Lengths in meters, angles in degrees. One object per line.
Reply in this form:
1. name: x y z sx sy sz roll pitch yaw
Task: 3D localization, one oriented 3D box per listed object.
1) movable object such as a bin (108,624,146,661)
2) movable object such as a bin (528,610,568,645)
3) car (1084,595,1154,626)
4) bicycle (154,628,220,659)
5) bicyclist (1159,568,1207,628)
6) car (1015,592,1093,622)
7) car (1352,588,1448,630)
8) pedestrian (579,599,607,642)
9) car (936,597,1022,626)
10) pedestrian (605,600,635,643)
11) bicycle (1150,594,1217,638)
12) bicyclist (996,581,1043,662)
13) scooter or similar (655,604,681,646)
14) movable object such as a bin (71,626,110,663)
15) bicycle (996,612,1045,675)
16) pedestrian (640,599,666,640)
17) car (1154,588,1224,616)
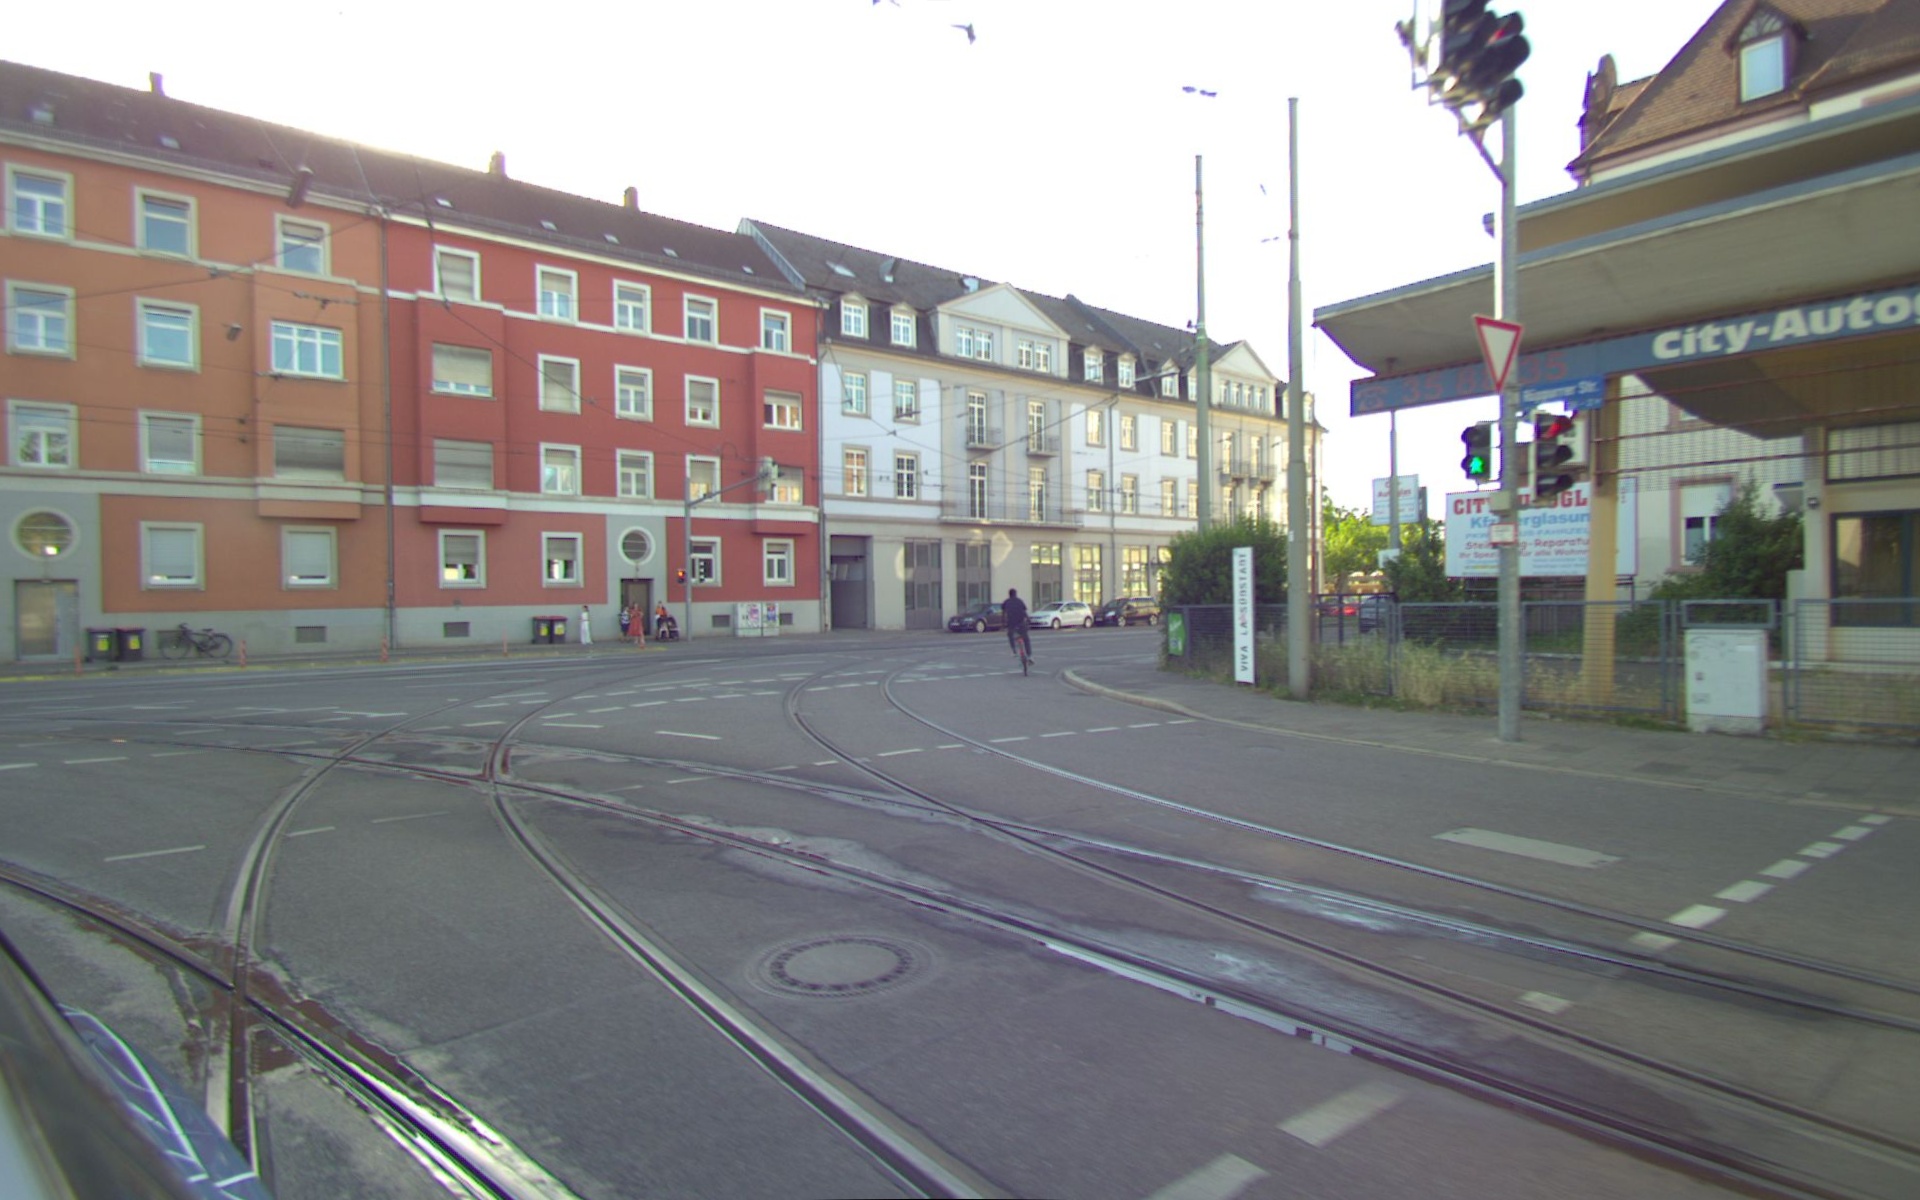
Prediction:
1. movable object such as a bin: -24.868 1.256 30.218 0.799 1.048 0.846 -1 0 -44
2. movable object such as a bin: -15.555 1.023 38.191 1.213 1.259 0.876 -1 0 -34
3. car: 8.717 0.549 55.386 3.796 1.563 1.727 -1 0 -40
4. bicycle: -23.853 1.334 31.256 1.578 0.897 0.336 -1 0 -36
5. bicyclist: 5.868 -0.047 26.648 0.837 1.536 0.980 0 0 44
6. car: 4.882 0.341 52.369 3.937 1.463 1.727 -1 0 -40
7. car: 17.495 0.320 40.196 4.026 1.540 1.957 -2 1 -41
8. pedestrian: -14.095 0.774 38.858 0.792 1.645 0.648 -1 0 28
9. car: 0.947 0.531 48.508 3.937 1.242 1.727 -1 0 -40
10. pedestrian: -13.301 0.818 39.592 0.823 1.645 0.792 -1 0 12
11. bicycle: 5.902 0.401 26.681 1.842 1.094 0.774 -1 0 -42
12. bicyclist: 1.162 0.411 19.986 0.867 1.538 1.050 -1 0 3
13. scooter or similar: -11.654 1.002 40.432 0.649 1.645 0.791 -1 0 18
14. movable object such as a bin: -25.471 1.297 29.647 0.799 1.048 0.846 -1 0 -44
15. bicycle: 1.172 0.820 19.827 0.884 1.133 2.063 -1 0 3
16. pedestrian: -12.319 0.776 40.627 0.649 1.645 0.791 -1 0 18
17. car: 13.598 0.111 59.935 4.207 1.563 1.844 -1 0 -40
